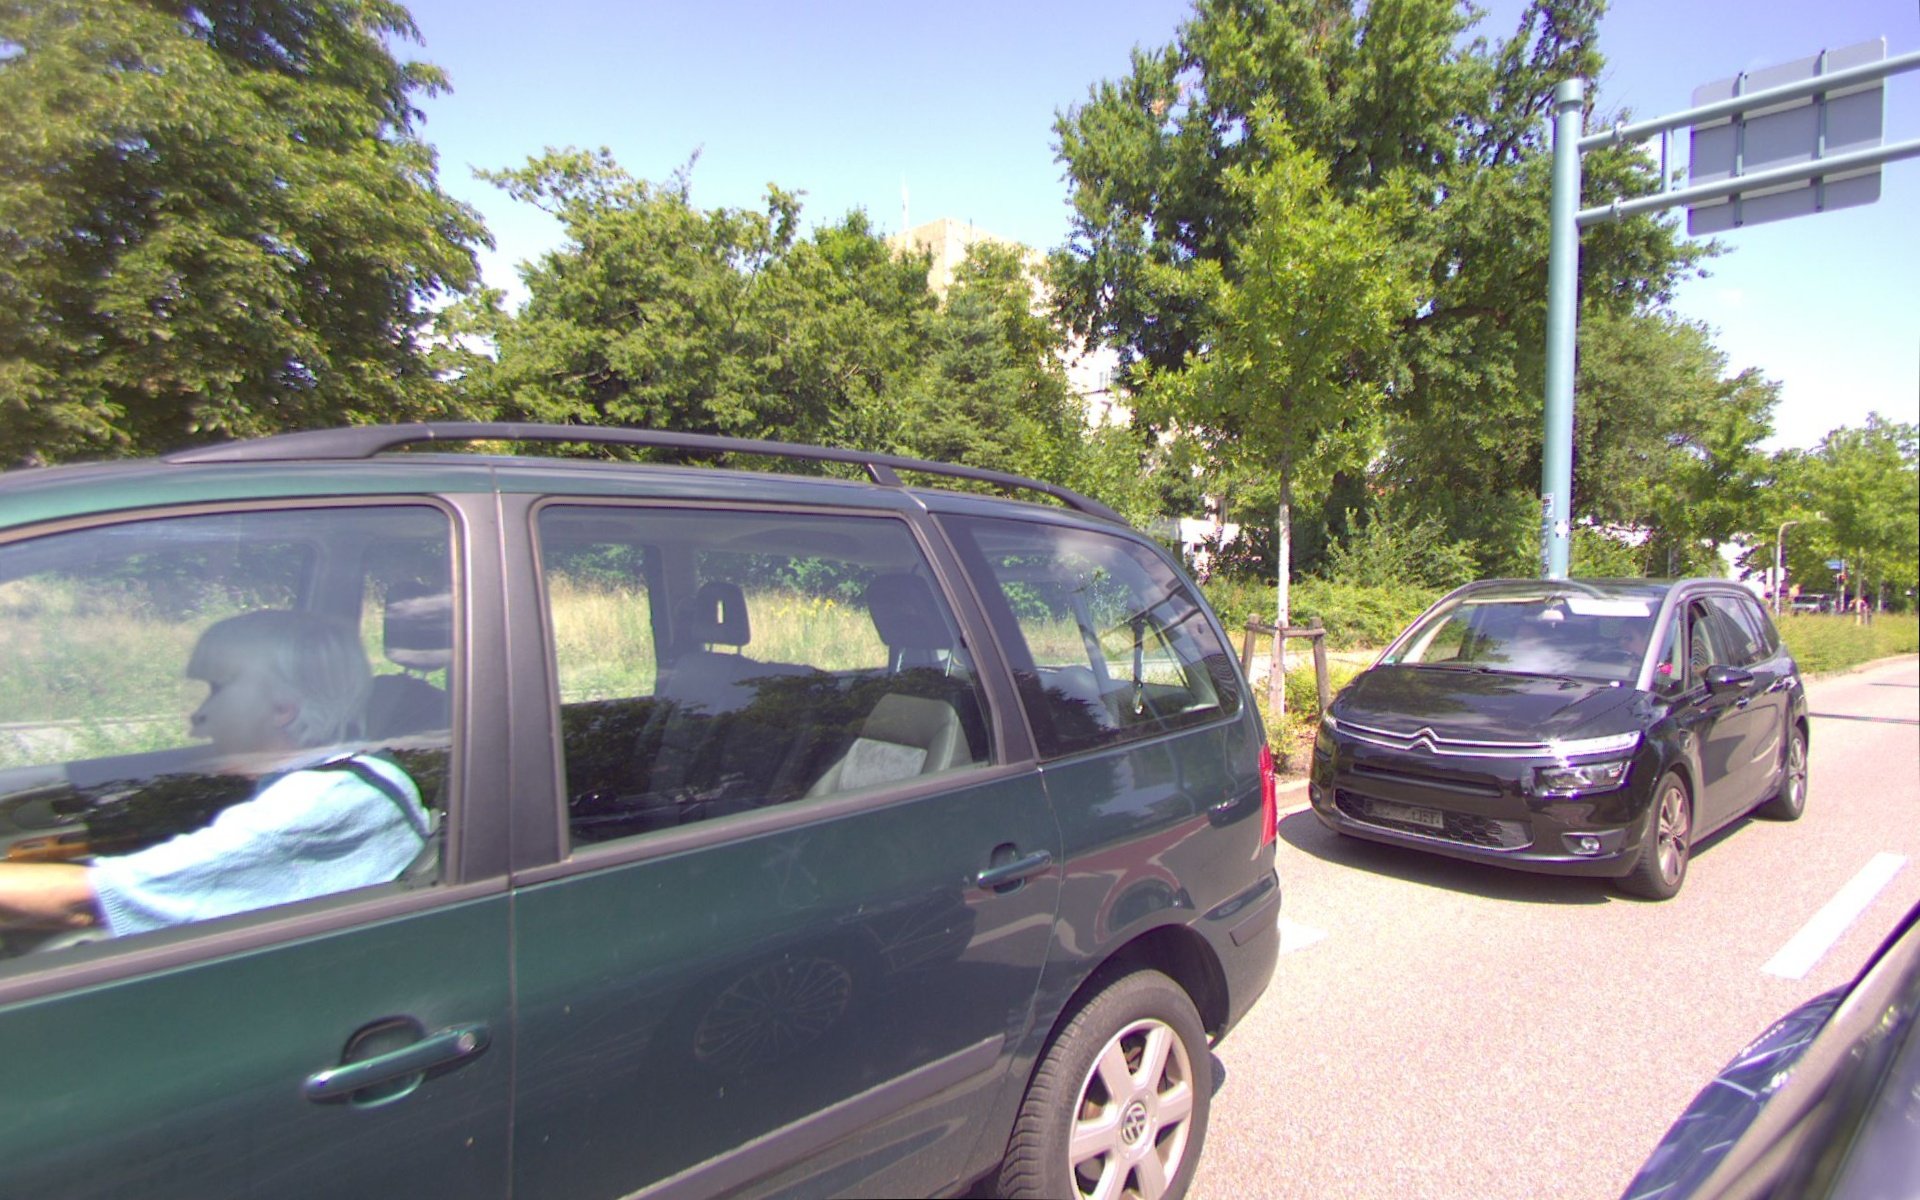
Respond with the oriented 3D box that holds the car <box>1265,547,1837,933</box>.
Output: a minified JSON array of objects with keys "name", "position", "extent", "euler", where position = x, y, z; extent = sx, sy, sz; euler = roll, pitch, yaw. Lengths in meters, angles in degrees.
[{"name":"car","position":[3.956,0.607,6.418],"extent":[4.400,1.628,1.815],"euler":[1,-1,-41]}]

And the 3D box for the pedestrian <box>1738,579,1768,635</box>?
[{"name":"pedestrian","position":[30.050,0.248,38.363],"extent":[0.842,2.063,0.889],"euler":[2,0,39]}]

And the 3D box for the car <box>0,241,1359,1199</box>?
[{"name":"car","position":[-1.138,0.530,1.973],"extent":[4.315,1.737,1.804],"euler":[0,-1,-41]}]

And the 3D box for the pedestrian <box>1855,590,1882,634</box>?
[{"name":"pedestrian","position":[37.169,0.482,41.395],"extent":[0.635,1.787,0.876],"euler":[2,1,32]}]
